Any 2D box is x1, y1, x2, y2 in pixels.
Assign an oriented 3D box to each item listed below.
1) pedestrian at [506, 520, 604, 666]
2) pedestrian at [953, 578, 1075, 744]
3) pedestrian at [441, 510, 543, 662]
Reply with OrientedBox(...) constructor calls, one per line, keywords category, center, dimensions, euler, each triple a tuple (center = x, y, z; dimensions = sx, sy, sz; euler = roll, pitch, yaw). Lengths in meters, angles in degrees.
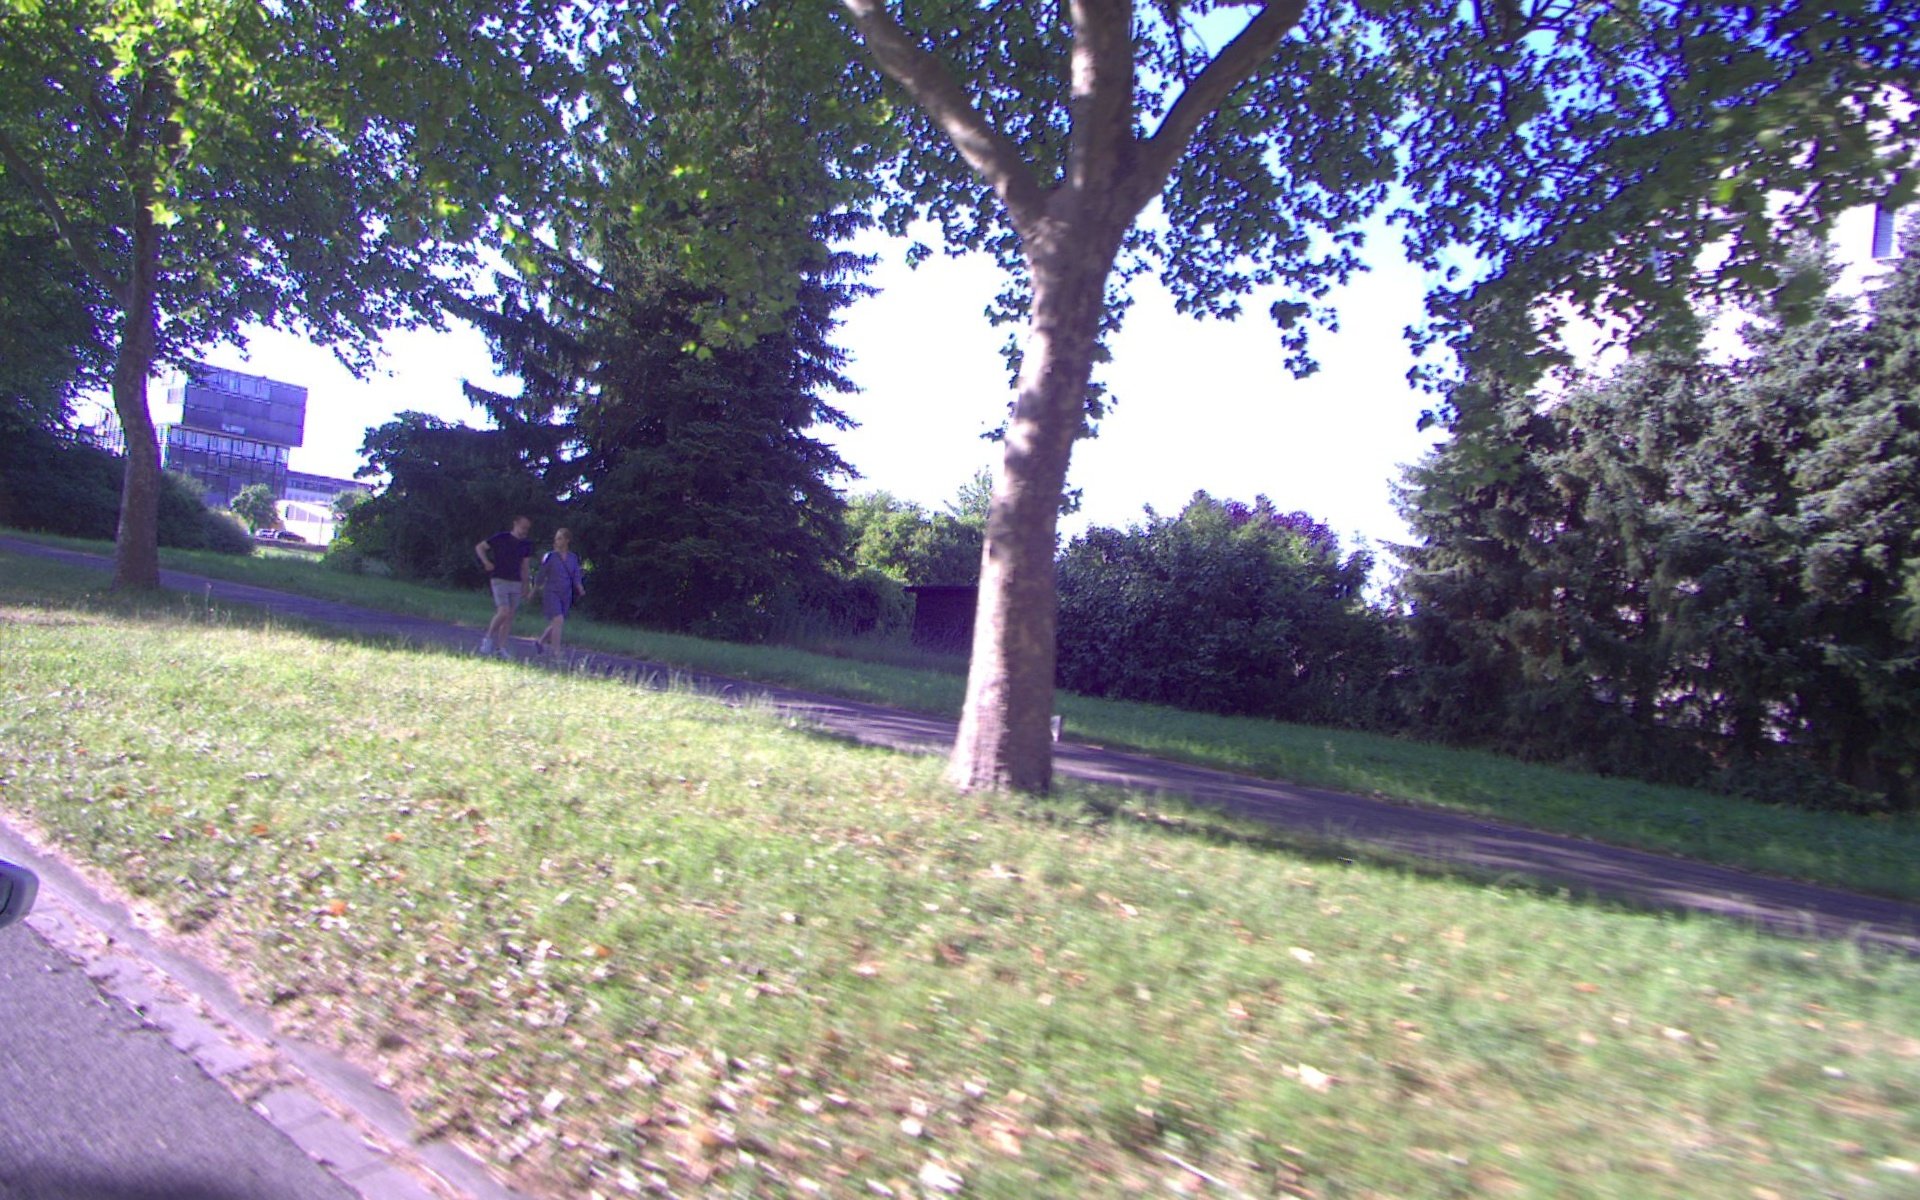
OrientedBox(category="pedestrian", center=(-5.514, -0.090, 13.710), dimensions=(0.790, 1.870, 0.755), euler=(7, 1, 35))
OrientedBox(category="pedestrian", center=(0.597, 0.661, 11.114), dimensions=(0.923, 1.670, 0.780), euler=(7, 1, 31))
OrientedBox(category="pedestrian", center=(-6.123, -0.174, 13.172), dimensions=(0.775, 1.869, 0.761), euler=(7, 1, 35))
